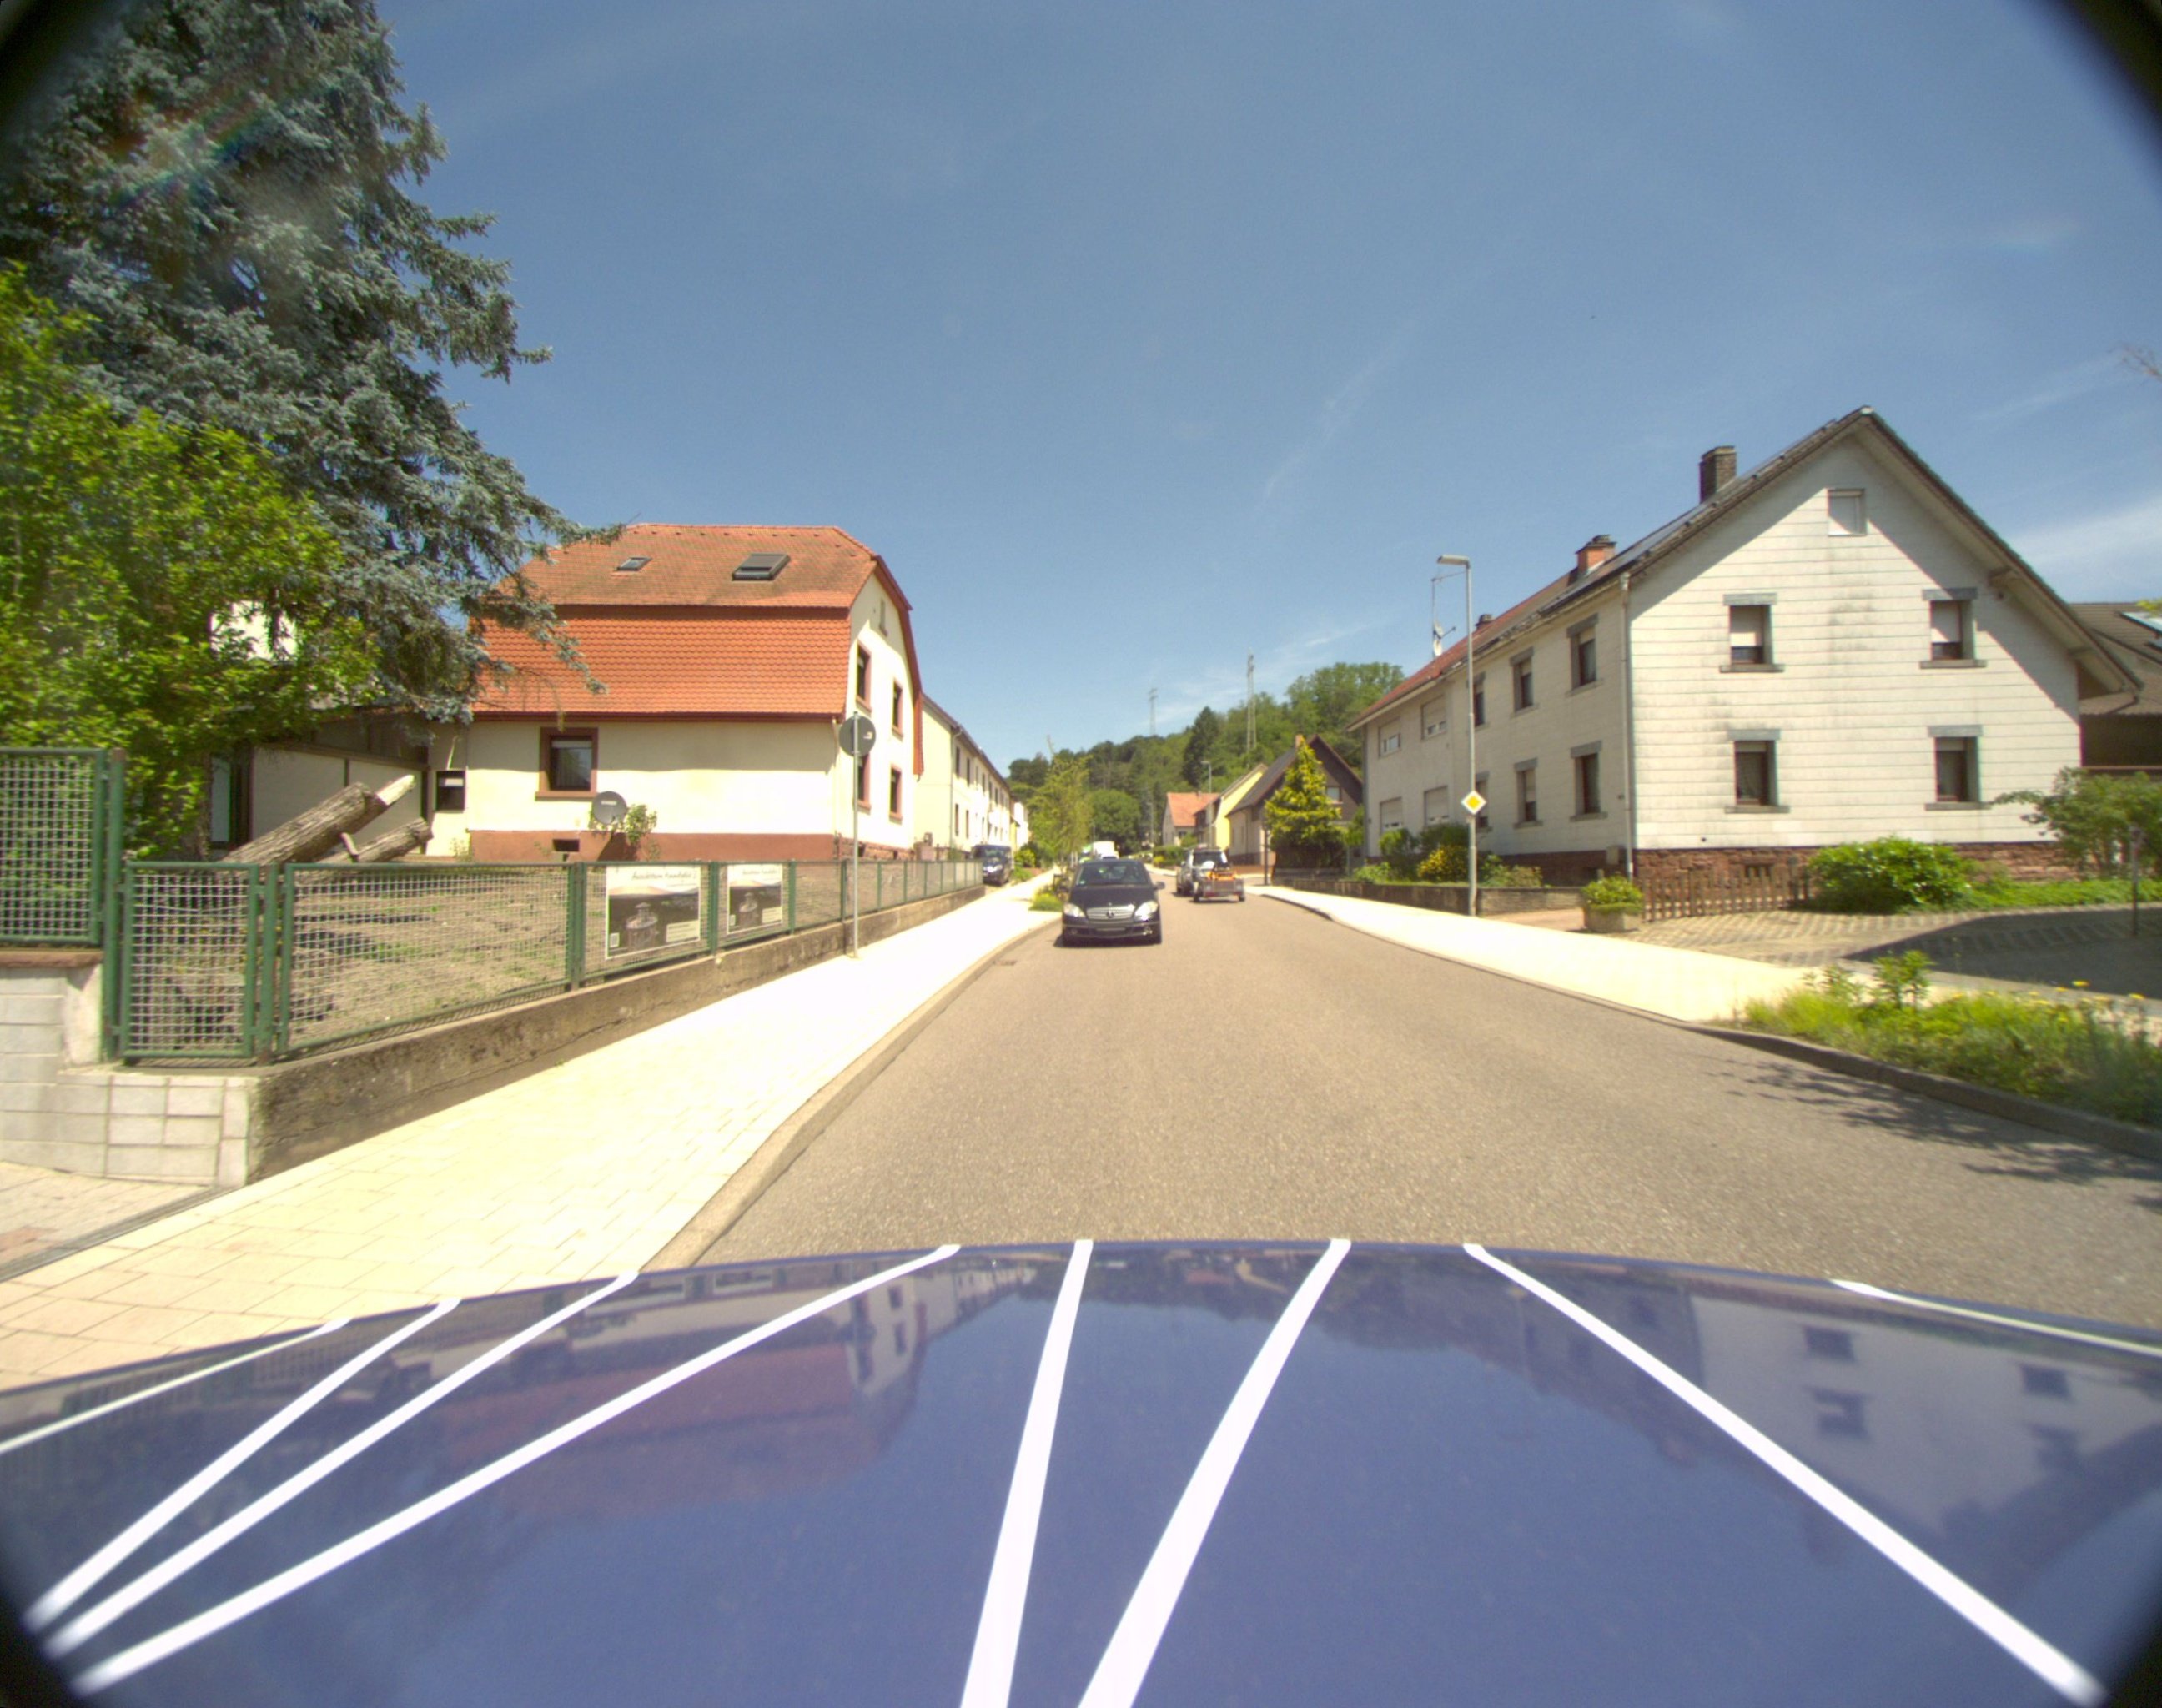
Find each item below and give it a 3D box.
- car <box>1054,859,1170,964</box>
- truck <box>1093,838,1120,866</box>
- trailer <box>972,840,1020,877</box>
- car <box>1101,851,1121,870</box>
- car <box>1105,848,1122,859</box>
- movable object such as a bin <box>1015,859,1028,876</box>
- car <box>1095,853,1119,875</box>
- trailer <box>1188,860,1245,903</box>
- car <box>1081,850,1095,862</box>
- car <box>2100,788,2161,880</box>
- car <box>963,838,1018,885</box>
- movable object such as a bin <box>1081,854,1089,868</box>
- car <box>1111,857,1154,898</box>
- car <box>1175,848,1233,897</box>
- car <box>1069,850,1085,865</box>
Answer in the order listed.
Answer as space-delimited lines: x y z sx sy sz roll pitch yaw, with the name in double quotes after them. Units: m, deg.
0.577 0.937 14.238 1.790 1.595 4.076 -2 0 2 "car"
3.251 -0.293 98.884 2.806 3.394 8.116 2 0 -3 "truck"
-4.723 0.243 42.275 1.320 2.002 2.278 -1 1 43 "trailer"
3.016 0.617 77.553 1.968 1.823 4.465 1 0 2 "car"
5.870 -0.169 138.097 1.706 1.937 3.993 -2 1 -18 "car"
-4.034 0.907 51.576 0.685 1.109 0.812 3 1 6 "movable object such as a bin"
2.019 0.749 58.920 1.714 1.595 3.880 -1 0 2 "car"
4.807 0.932 27.389 1.578 1.387 4.404 -1 0 4 "trailer"
1.085 0.257 117.060 1.998 1.805 4.000 -1 0 2 "car"
23.635 -0.375 15.212 4.329 1.823 1.998 0 0 -8 "car"
-4.319 0.357 37.011 1.857 1.959 4.774 6 0 1 "car"
0.393 0.701 75.413 0.794 1.387 0.925 -1 1 -2 "movable object such as a bin"
2.202 0.976 33.073 1.714 1.595 3.880 -2 0 2 "car"
5.011 0.724 31.465 1.893 1.850 4.579 -1 0 3 "car"
-0.513 0.415 96.647 1.860 1.832 4.669 1 0 -3 "car"
